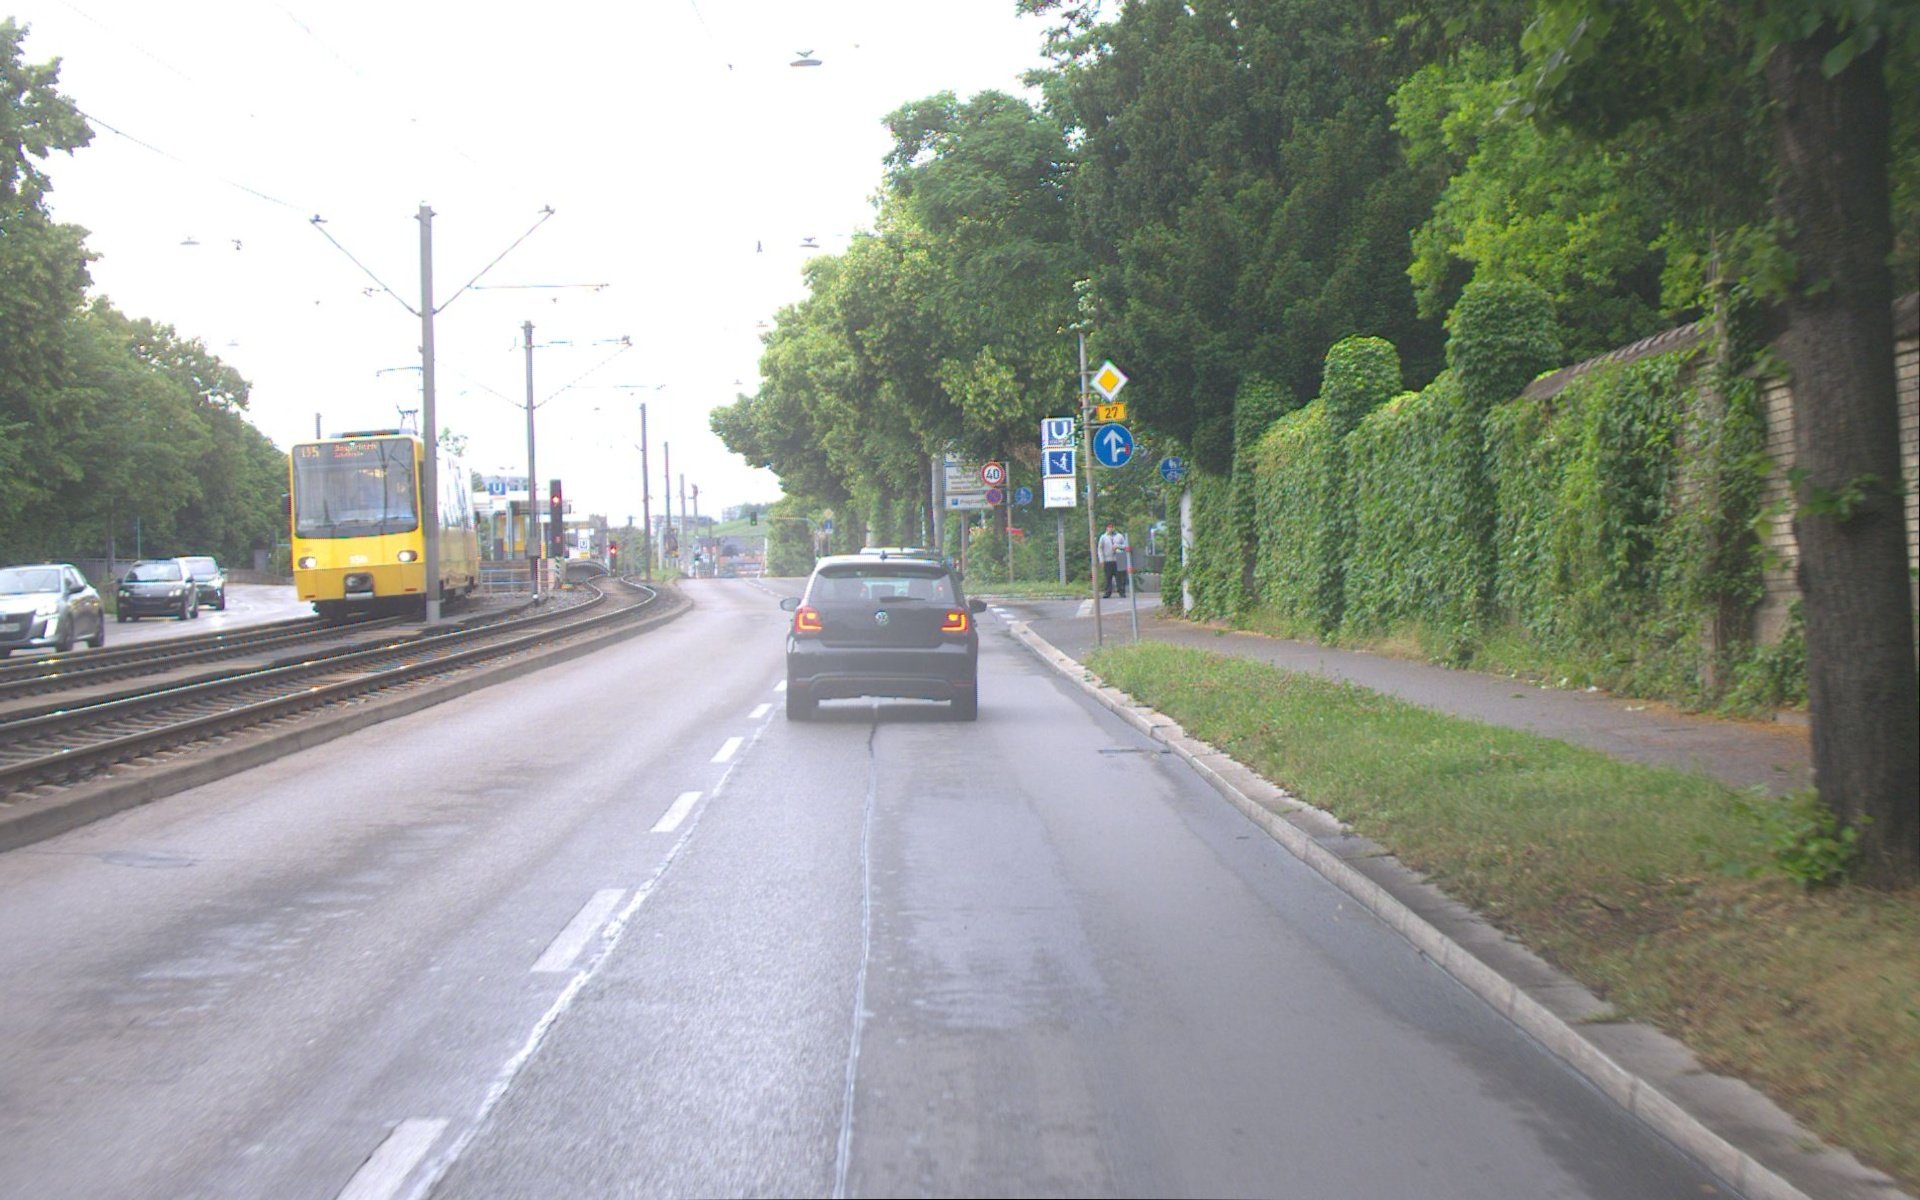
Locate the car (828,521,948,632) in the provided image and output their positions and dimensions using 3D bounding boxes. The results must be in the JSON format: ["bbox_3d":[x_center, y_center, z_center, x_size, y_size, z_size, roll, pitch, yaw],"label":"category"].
[{"bbox_3d":[-1.039,-0.372,50.472,1.676,1.525,3.722,-1,1,-1],"label":"car"}]

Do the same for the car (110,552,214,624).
[{"bbox_3d":[-19.611,-0.317,84.603,1.733,1.656,4.001,0,1,-2],"label":"car"}]

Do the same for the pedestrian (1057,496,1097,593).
[{"bbox_3d":[3.599,-1.700,105.653,1.164,2.967,0.948,0,1,-2],"label":"pedestrian"}]

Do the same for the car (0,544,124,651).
[{"bbox_3d":[-14.686,-0.077,54.328,1.993,1.570,4.536,0,1,-2],"label":"car"}]

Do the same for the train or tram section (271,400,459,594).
[{"bbox_3d":[-11.734,-2.040,68.576,2.831,3.593,9.272,0,1,-4],"label":"train or tram section"}]

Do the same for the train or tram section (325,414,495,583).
[{"bbox_3d":[-12.322,-2.279,77.771,2.832,3.593,9.272,0,1,-3],"label":"train or tram section"}]

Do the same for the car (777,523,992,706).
[{"bbox_3d":[-0.724,0.081,30.761,1.794,1.480,3.965,0,2,-3],"label":"car"}]
